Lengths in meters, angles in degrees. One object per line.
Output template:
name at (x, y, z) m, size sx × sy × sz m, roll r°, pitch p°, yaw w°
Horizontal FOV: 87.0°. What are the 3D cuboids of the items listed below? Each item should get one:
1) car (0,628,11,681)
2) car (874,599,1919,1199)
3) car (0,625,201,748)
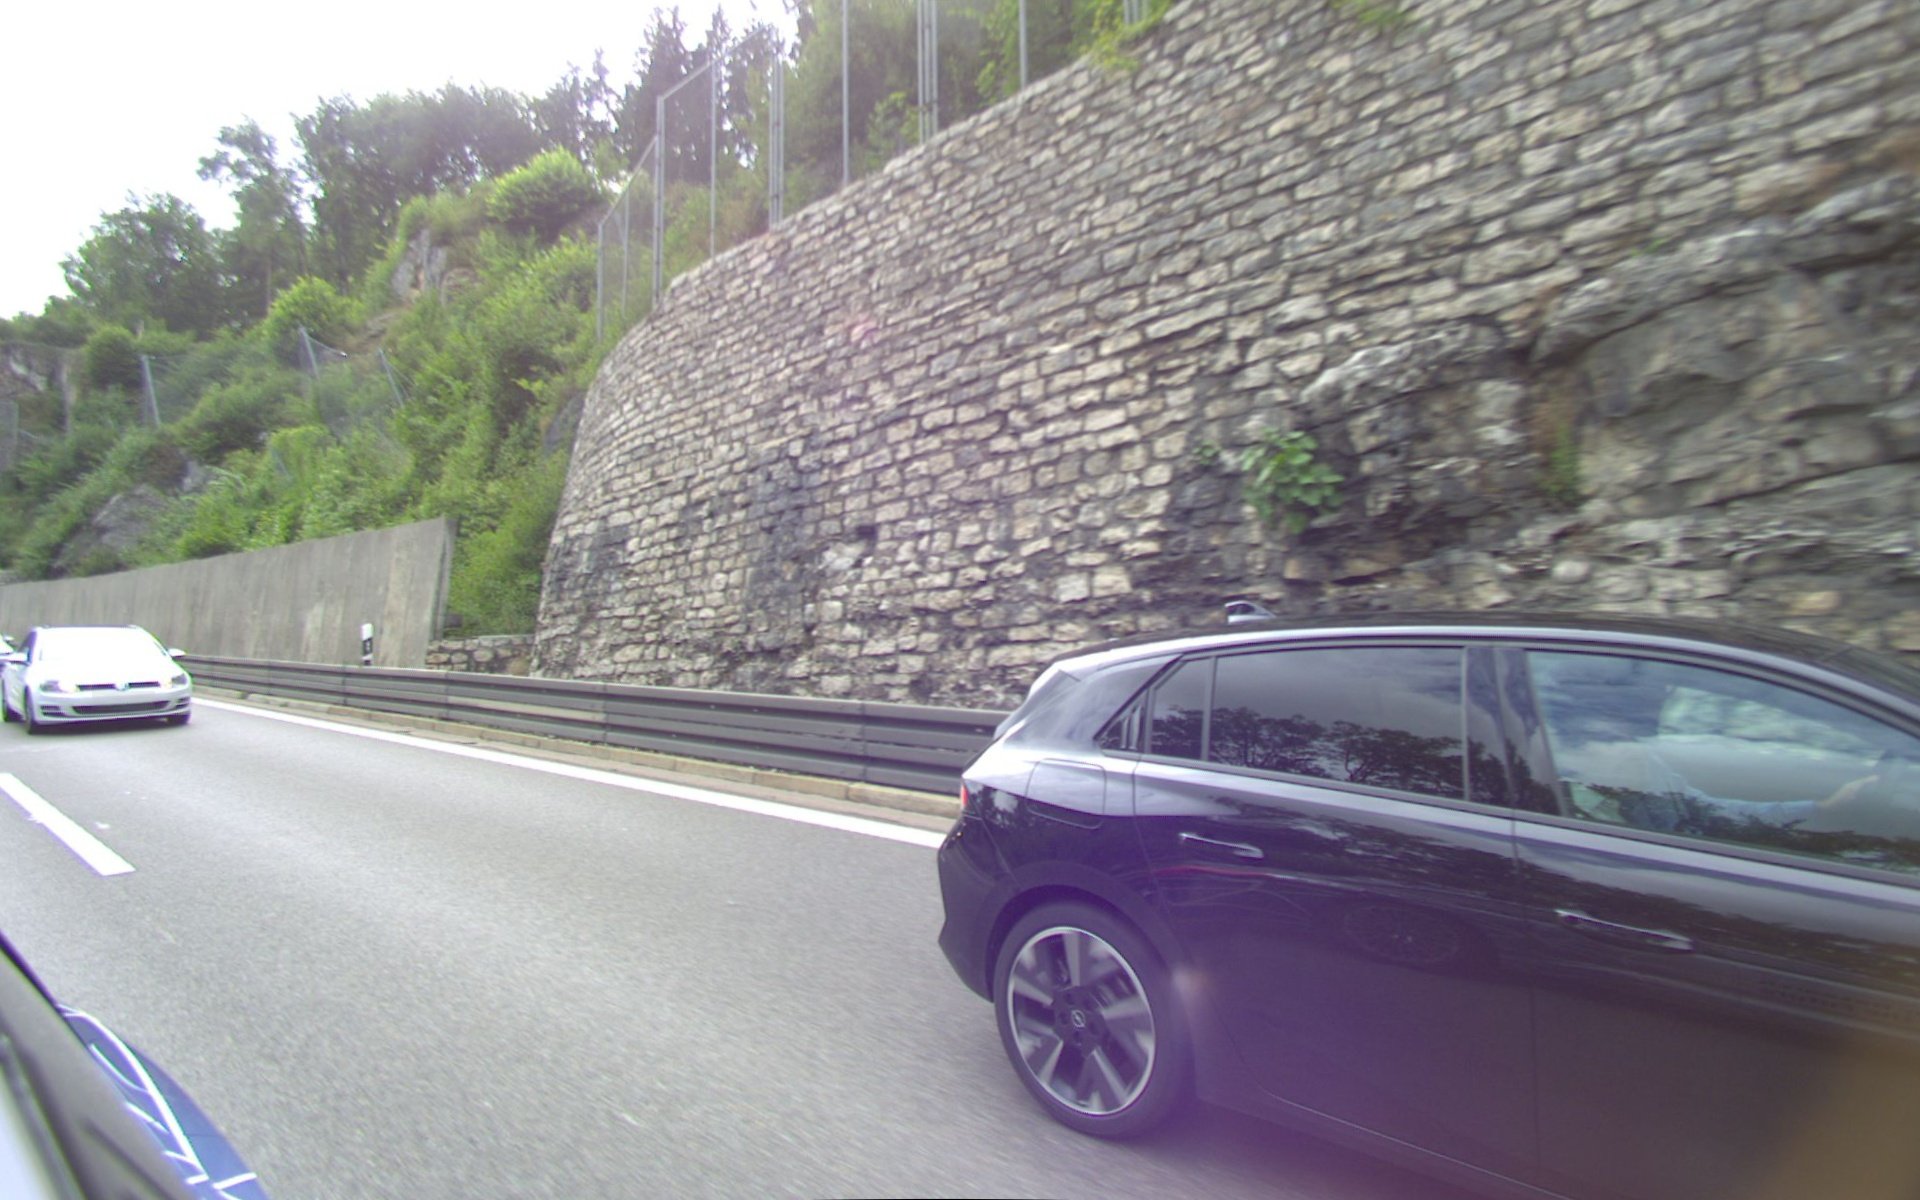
car at (-28.664, 1.569, 28.858) m, size 5.132 × 1.468 × 1.809 m, roll -2°, pitch -1°, yaw 41°
car at (2.015, 0.740, 2.373) m, size 4.580 × 1.472 × 1.754 m, roll -1°, pitch -1°, yaw 42°
car at (-12.835, 1.134, 14.910) m, size 4.627 × 1.493 × 1.825 m, roll -1°, pitch -1°, yaw 43°
